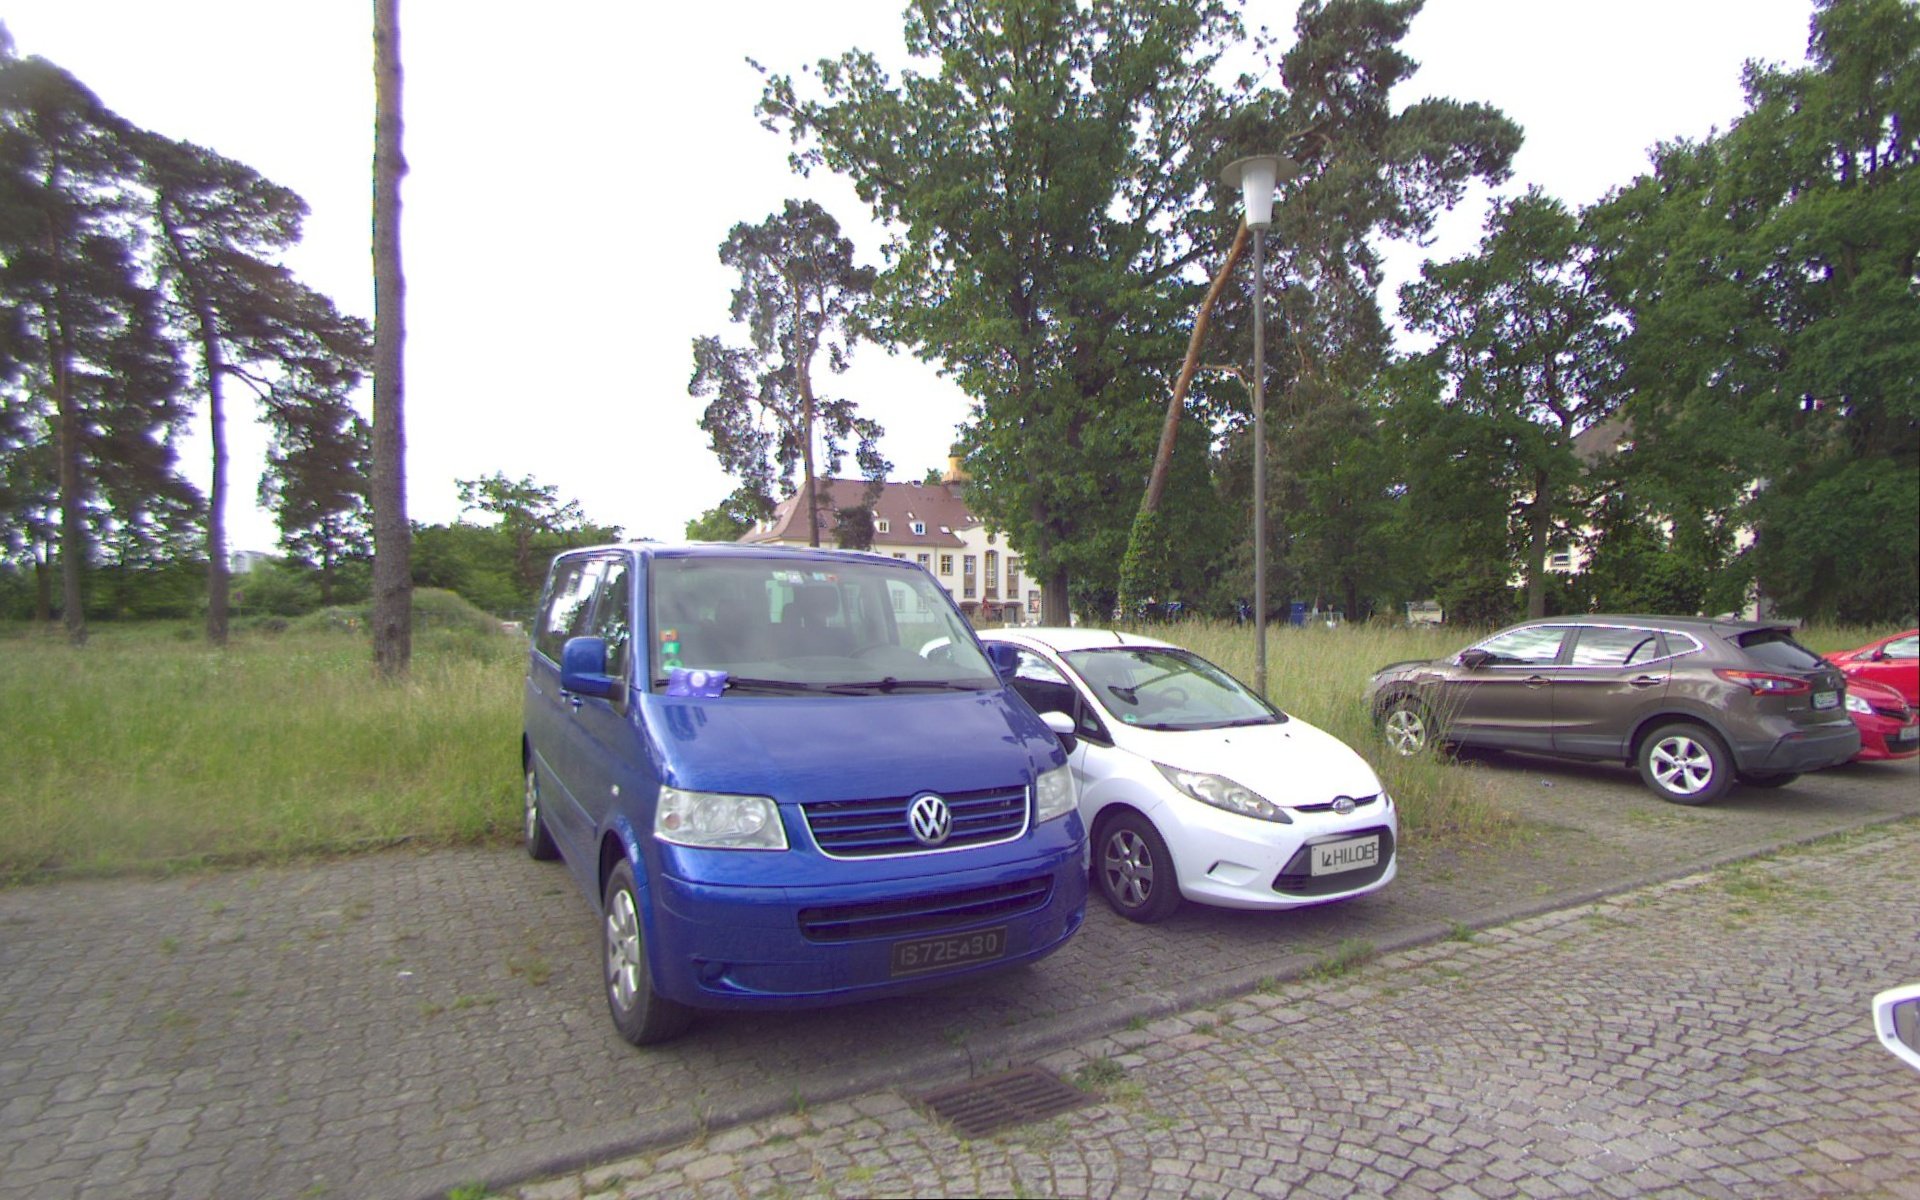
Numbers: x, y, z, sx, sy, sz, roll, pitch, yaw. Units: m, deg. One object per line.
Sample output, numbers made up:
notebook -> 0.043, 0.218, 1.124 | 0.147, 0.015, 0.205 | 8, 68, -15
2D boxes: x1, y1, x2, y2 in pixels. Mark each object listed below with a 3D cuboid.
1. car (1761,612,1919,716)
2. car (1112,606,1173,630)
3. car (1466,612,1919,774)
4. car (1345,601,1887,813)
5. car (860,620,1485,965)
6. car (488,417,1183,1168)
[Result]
car -> 15.065, 0.954, 15.357 | 1.883, 1.545, 4.035 | 0, -1, -31
car -> 16.150, 1.607, 88.893 | 5.164, 2.040, 1.986 | 1, -2, -28
car -> 8.434, 0.918, 11.769 | 1.885, 1.530, 4.146 | 0, -1, -31
car -> 6.264, 0.871, 10.100 | 1.965, 1.644, 4.144 | 0, -1, -32
car -> 1.020, 0.903, 6.739 | 1.761, 1.530, 4.144 | 0, -1, -31
car -> -1.210, 0.593, 5.486 | 2.090, 2.150, 4.759 | 0, -1, -30
